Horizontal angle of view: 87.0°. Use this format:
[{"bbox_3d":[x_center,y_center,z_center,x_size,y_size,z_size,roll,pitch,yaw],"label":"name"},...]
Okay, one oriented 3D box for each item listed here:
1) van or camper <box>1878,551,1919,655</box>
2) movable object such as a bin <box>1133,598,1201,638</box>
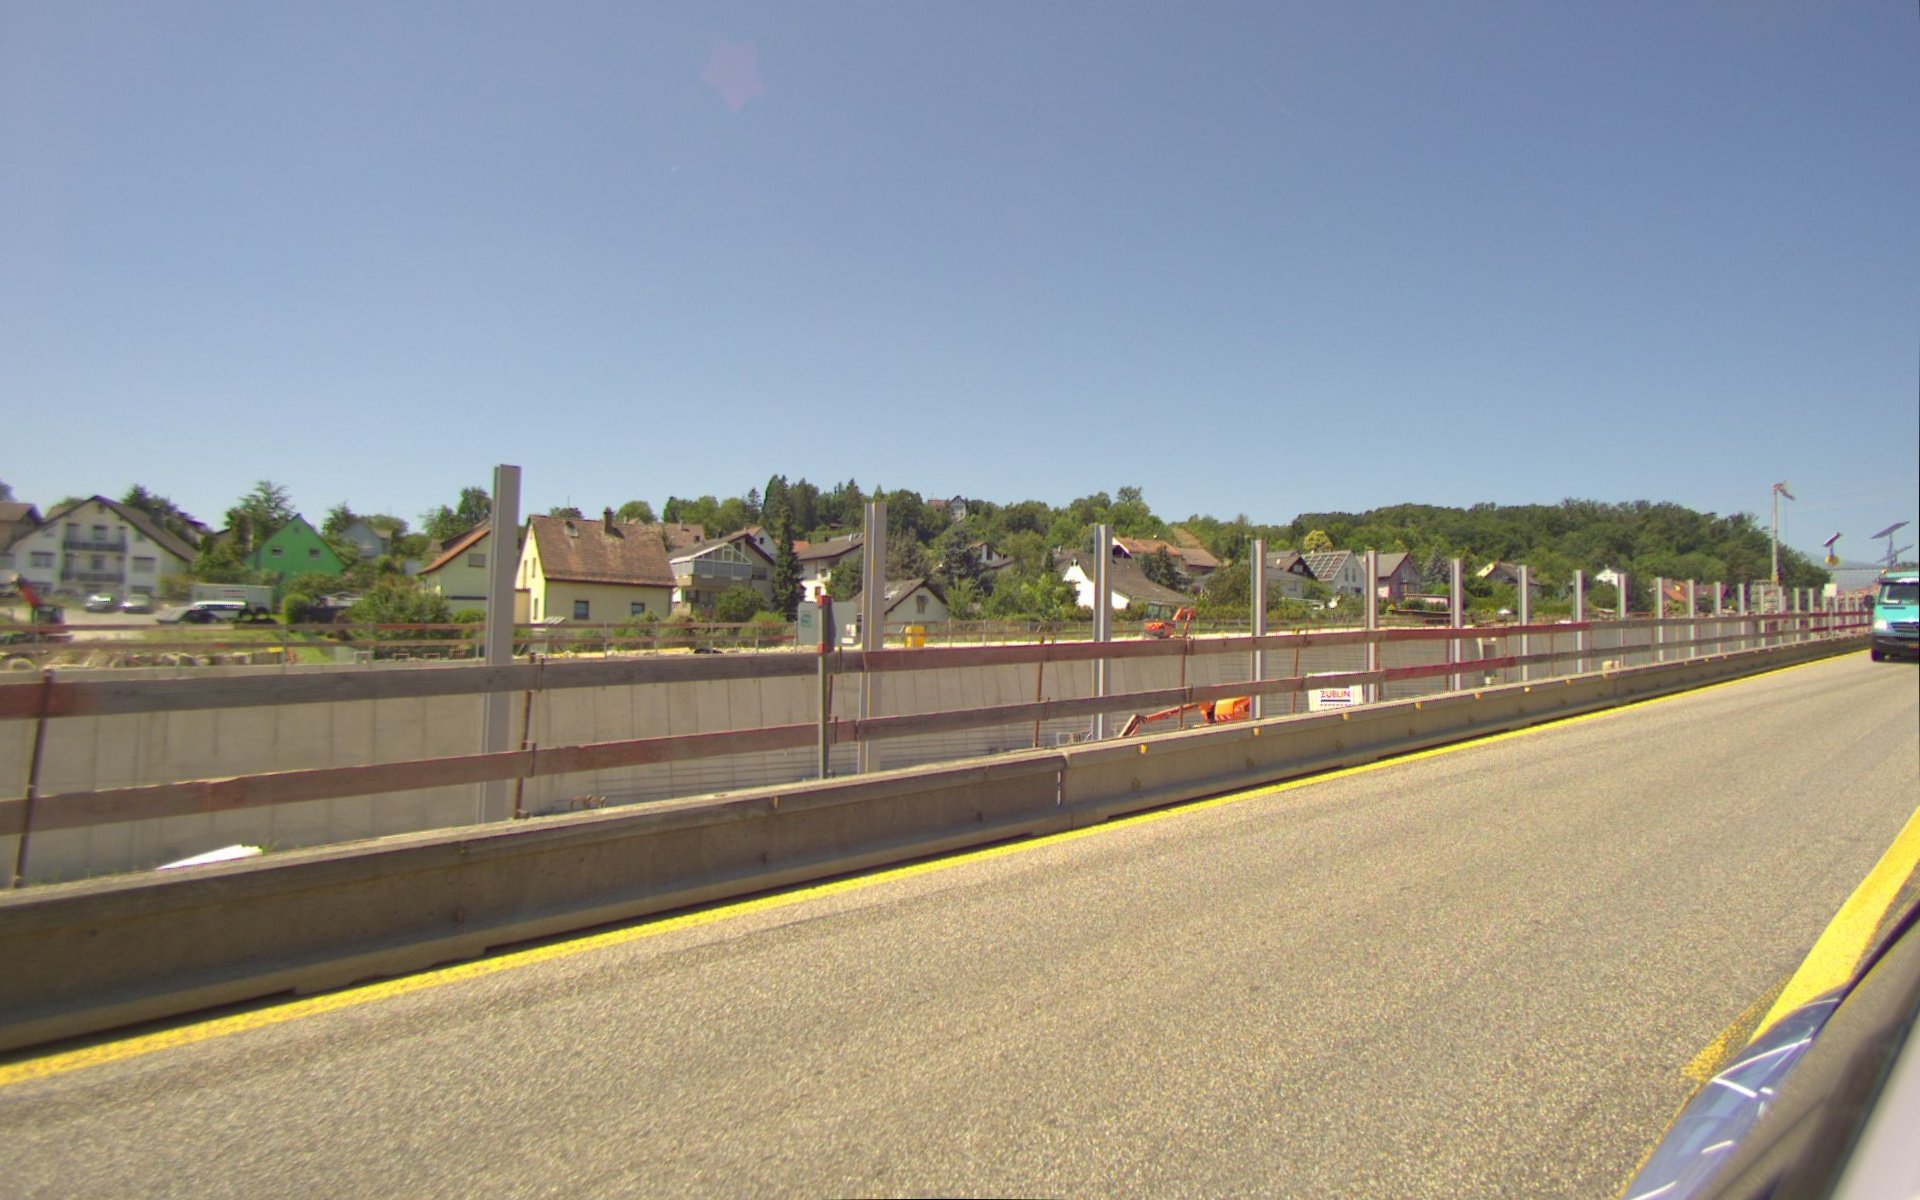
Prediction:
[{"bbox_3d":[26.071,0.126,26.603,7.538,2.504,2.095,1,-1,-42],"label":"van or camper"},{"bbox_3d":[12.448,1.046,60.780,4.079,2.267,1.997,0,0,-41],"label":"movable object such as a bin"}]
